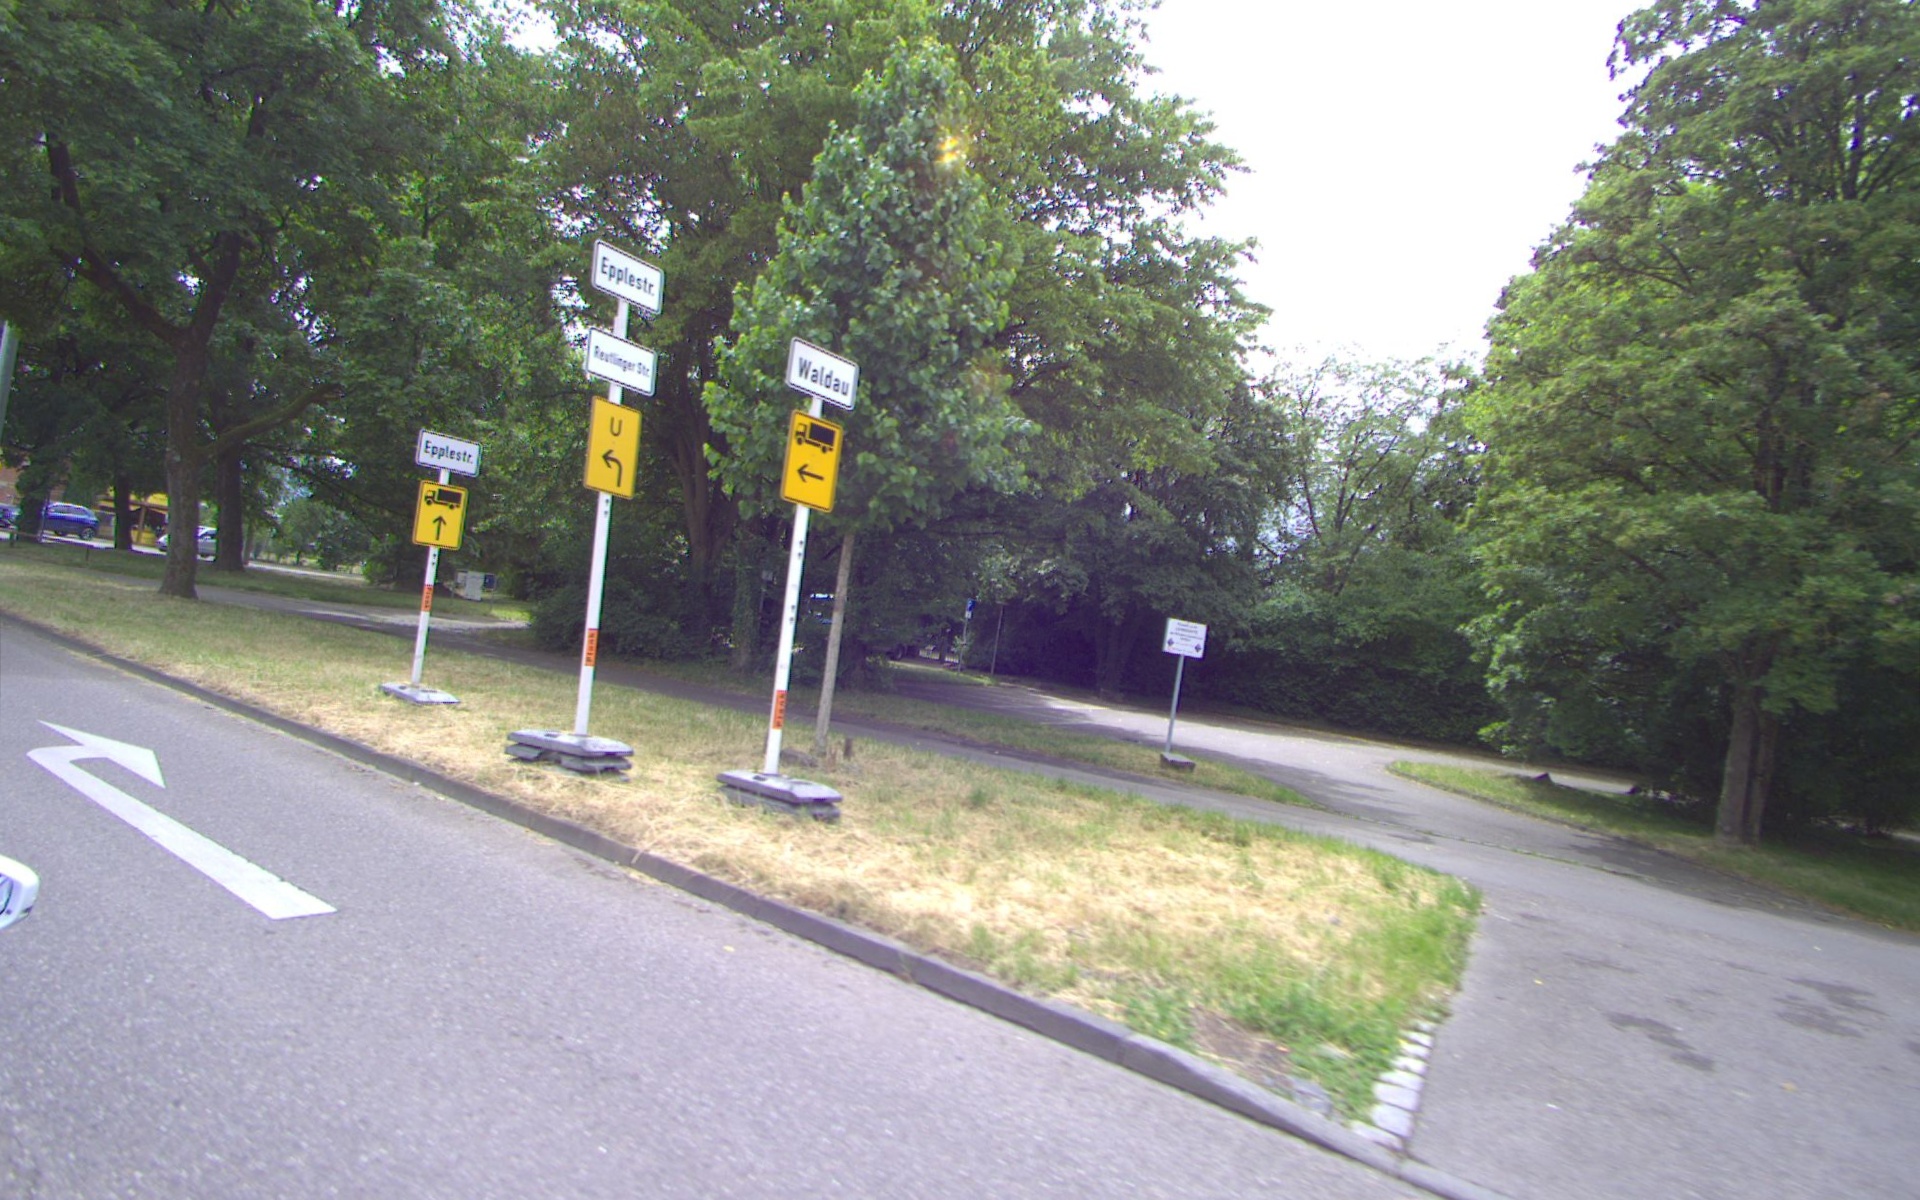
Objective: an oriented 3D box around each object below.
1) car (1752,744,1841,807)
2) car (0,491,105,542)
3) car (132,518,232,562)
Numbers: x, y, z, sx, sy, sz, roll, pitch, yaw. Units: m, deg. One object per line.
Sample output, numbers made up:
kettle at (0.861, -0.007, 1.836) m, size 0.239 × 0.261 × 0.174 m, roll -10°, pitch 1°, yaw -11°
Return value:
car at (24.260, 5.049, 29.186) m, size 1.775 × 1.425 × 3.985 m, roll 5°, pitch -3°, yaw 41°
car at (-42.867, -3.921, 46.996) m, size 1.962 × 1.665 × 3.863 m, roll 8°, pitch -2°, yaw 14°
car at (-39.392, -3.019, 51.056) m, size 1.962 × 1.548 × 3.478 m, roll 8°, pitch -2°, yaw 9°
